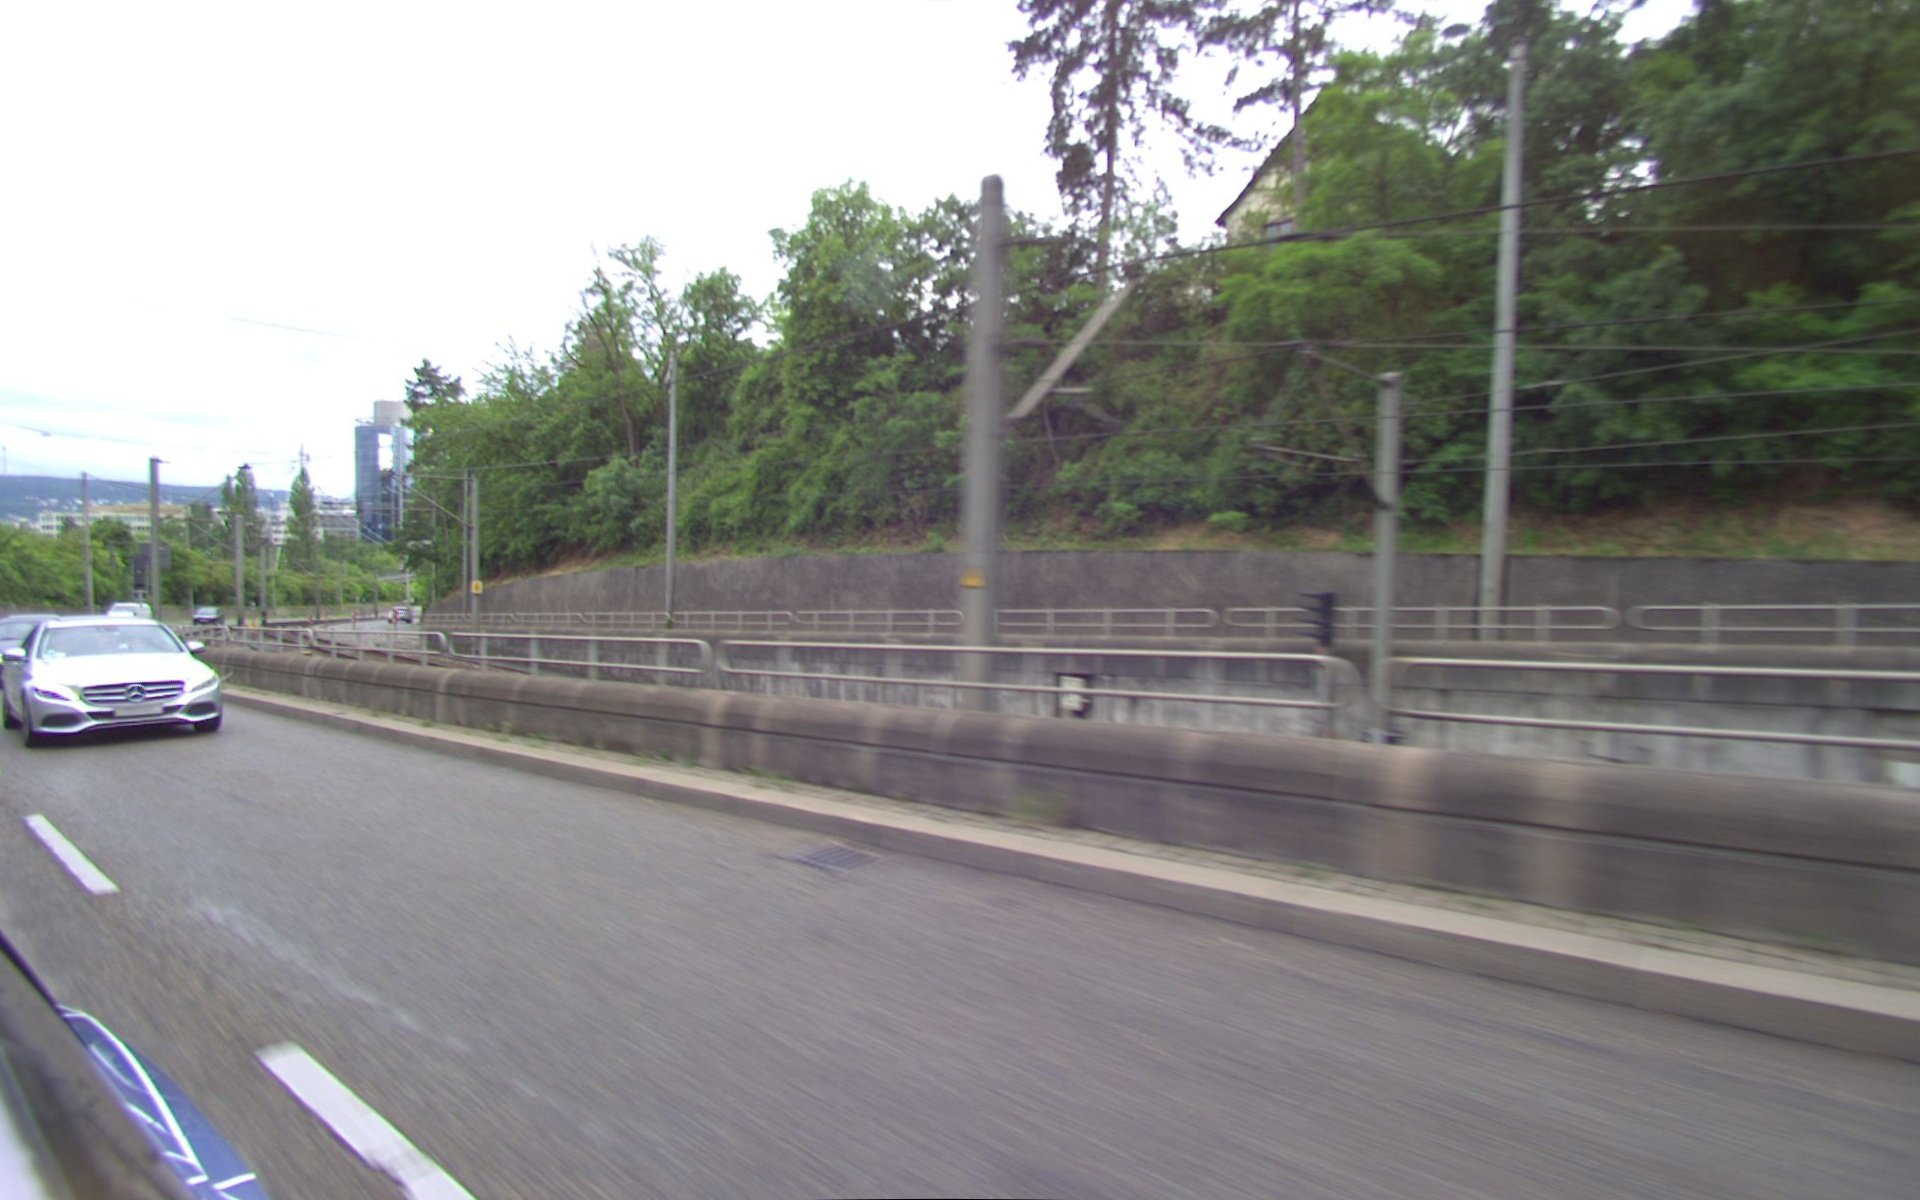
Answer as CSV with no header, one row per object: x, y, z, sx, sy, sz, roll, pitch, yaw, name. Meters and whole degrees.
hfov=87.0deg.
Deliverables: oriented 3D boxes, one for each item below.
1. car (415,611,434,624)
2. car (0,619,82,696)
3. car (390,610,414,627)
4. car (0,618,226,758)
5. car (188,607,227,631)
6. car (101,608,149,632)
-77.643,2.504,146.741,2.202,1.845,5.154,0,-1,-25,car
-19.859,1.165,21.521,1.704,1.482,3.892,-1,-1,-42,car
-57.279,1.926,103.907,1.907,1.696,4.423,0,-1,-26,car
-10.824,0.967,12.751,4.316,1.413,1.836,-1,0,44,car
-65.246,1.633,87.810,1.965,2.029,4.509,0,-1,-27,car
-62.701,1.497,76.044,1.780,1.521,4.014,-2,3,-25,car
